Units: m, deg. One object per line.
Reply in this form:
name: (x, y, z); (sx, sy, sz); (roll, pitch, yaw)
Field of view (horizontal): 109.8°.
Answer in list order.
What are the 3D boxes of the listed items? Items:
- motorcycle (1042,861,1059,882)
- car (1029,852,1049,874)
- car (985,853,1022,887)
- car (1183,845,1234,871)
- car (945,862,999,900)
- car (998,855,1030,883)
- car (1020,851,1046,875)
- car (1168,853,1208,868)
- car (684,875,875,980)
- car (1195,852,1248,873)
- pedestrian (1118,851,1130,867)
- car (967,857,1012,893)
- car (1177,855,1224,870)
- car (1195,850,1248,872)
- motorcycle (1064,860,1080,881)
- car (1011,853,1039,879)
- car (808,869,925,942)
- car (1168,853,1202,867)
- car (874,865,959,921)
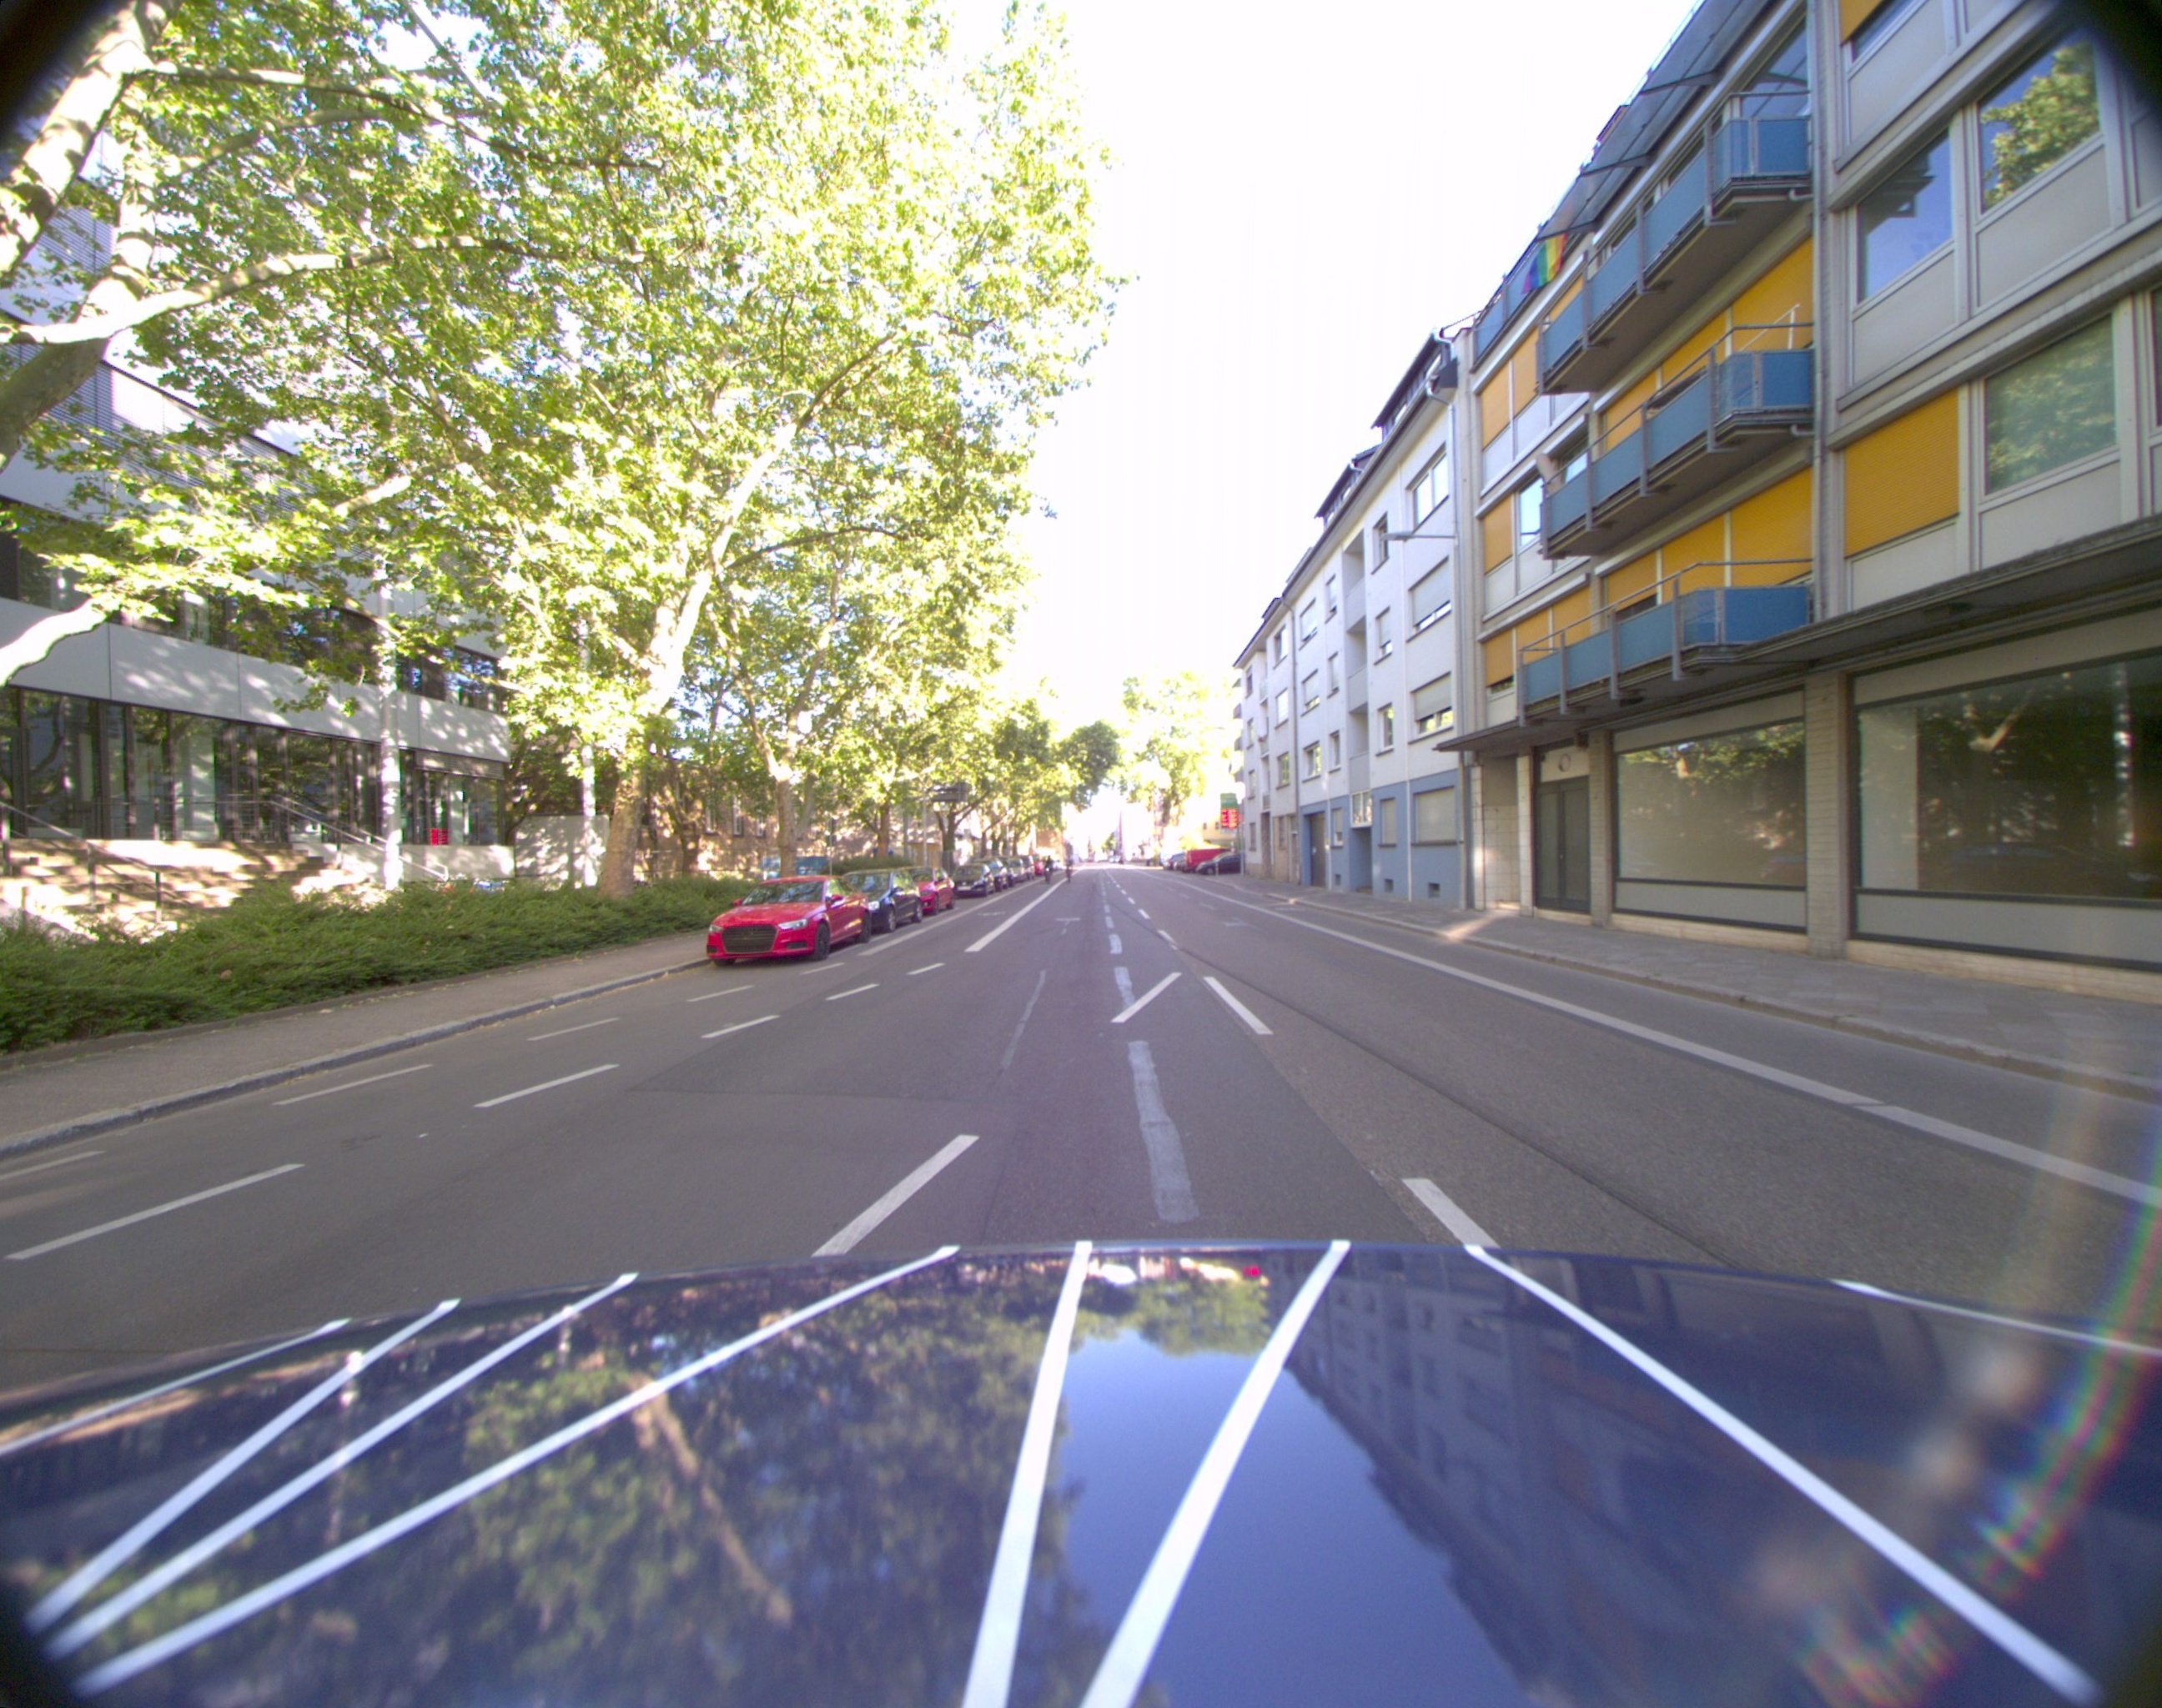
motorcycle: (-1.789, 1.037, 44.890); (0.799, 1.125, 2.236); (-2, 1, 1)
car: (-3.901, 0.812, 70.996); (1.599, 1.835, 3.769); (-2, 1, 0)
car: (-4.455, 0.856, 44.233); (1.634, 1.781, 4.576); (-2, 1, 0)
car: (10.062, 0.327, 59.934); (3.688, 1.897, 1.490); (-2, -1, -1)
car: (-4.694, 1.113, 33.229); (1.692, 1.414, 3.923); (-2, 1, 0)
car: (-4.353, 0.943, 50.104); (1.634, 1.604, 4.576); (-2, 1, 0)
car: (-4.169, 0.728, 66.084); (1.915, 1.940, 3.769); (-2, 1, 0)
car: (10.269, 0.635, 73.021); (3.687, 1.238, 1.345); (-2, 1, 2)
car: (-5.164, 1.179, 13.650); (1.794, 1.384, 3.999); (-2, 1, 0)
car: (10.092, 0.595, 54.721); (3.508, 1.380, 1.490); (-2, 1, 2)
pedestrian: (4.634, 0.521, 82.399); (0.894, 1.727, 0.827); (-3, 1, -41)
car: (-4.519, 0.994, 38.100); (1.634, 1.569, 4.231); (-2, 1, 0)
car: (9.813, 0.700, 62.580); (3.687, 1.122, 1.345); (-2, 1, 2)
car: (10.535, 0.491, 57.089); (3.687, 1.503, 1.490); (-2, 1, 2)
motorcycle: (-0.549, 0.980, 45.399); (0.865, 1.161, 1.929); (-2, 1, 1)
car: (-4.037, 0.819, 55.232); (1.634, 1.725, 3.769); (-2, 1, 0)
car: (-5.052, 1.162, 18.403); (1.669, 1.410, 3.697); (-2, 1, 1)
car: (10.325, 0.590, 75.459); (3.271, 1.238, 1.345); (-2, 1, 2)
car: (-5.015, 1.134, 23.677); (1.692, 1.441, 3.923); (-2, 1, 1)
